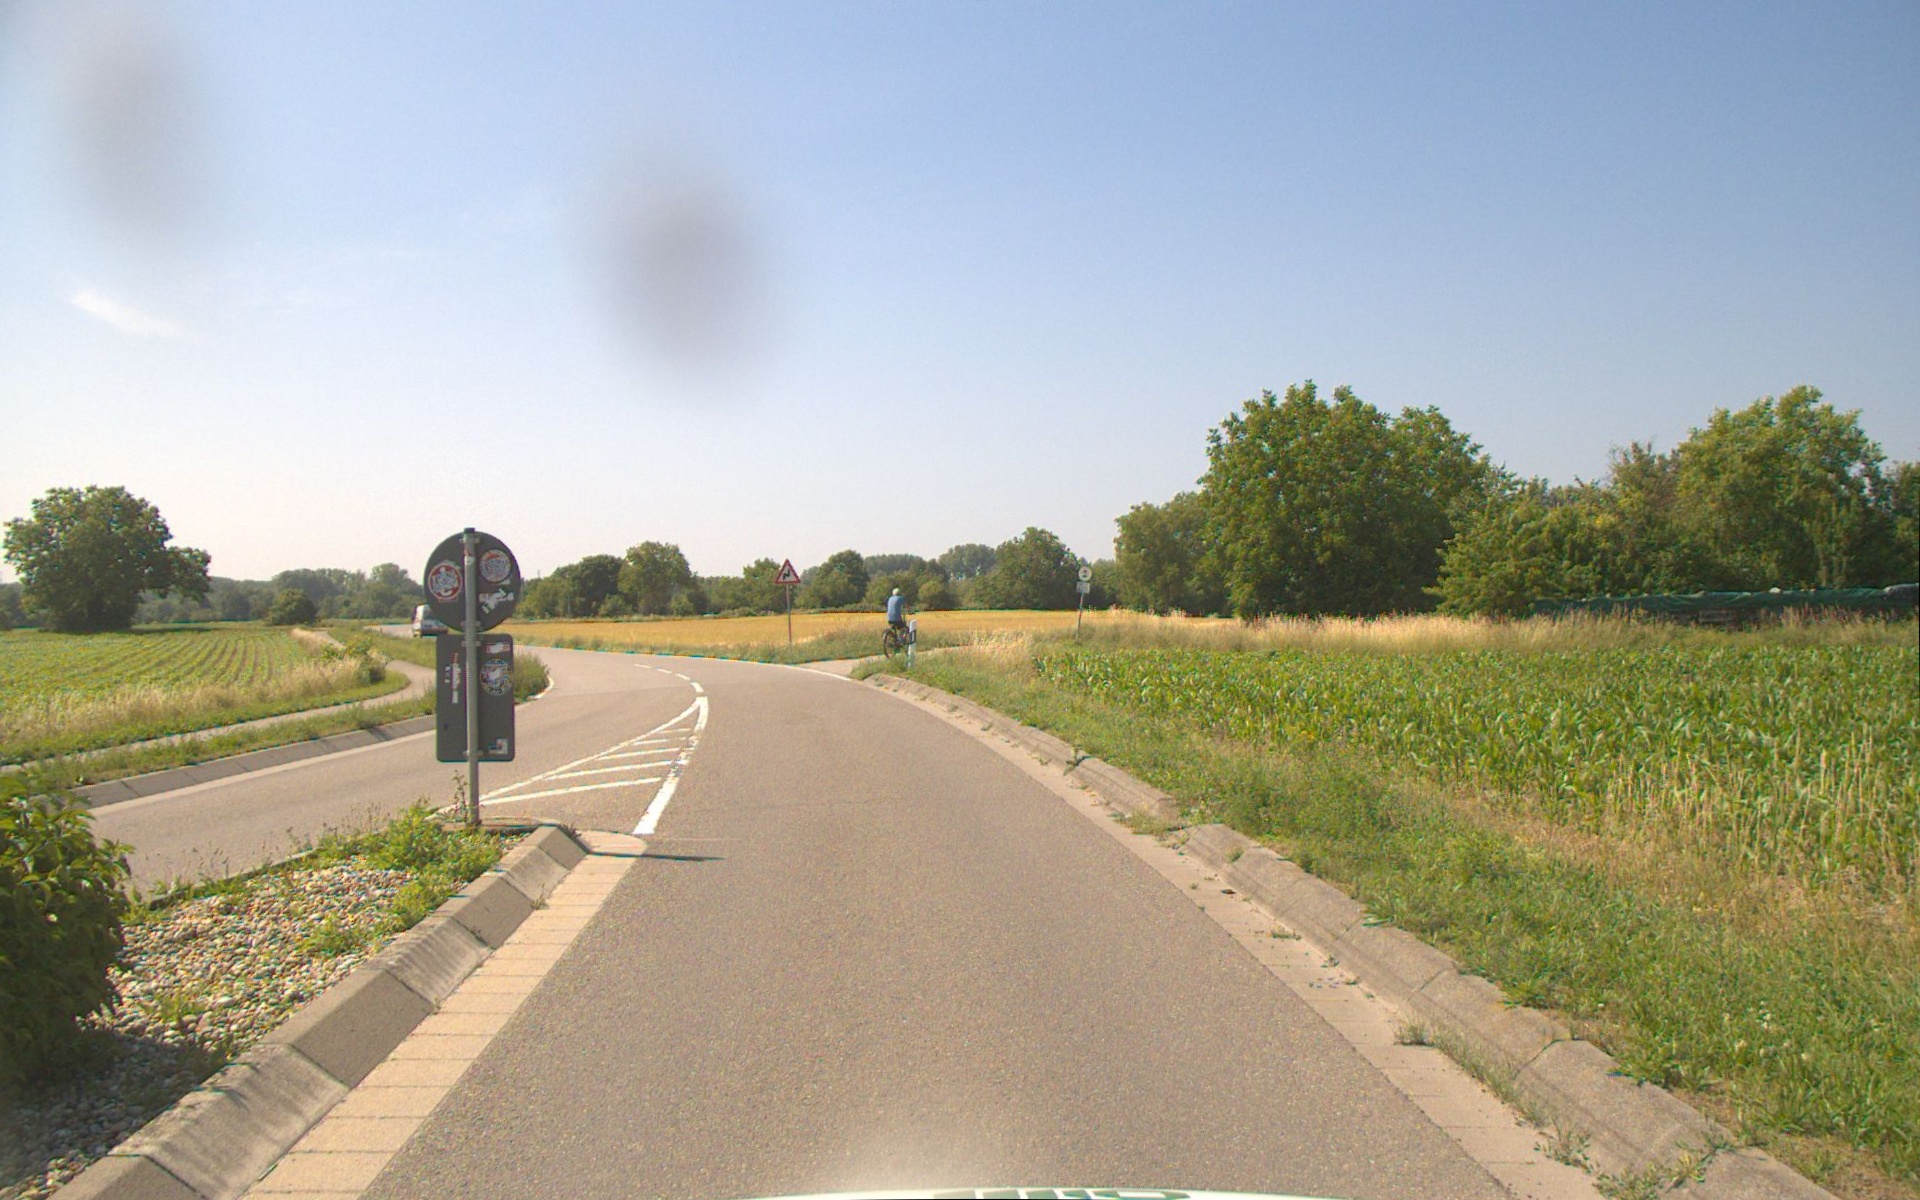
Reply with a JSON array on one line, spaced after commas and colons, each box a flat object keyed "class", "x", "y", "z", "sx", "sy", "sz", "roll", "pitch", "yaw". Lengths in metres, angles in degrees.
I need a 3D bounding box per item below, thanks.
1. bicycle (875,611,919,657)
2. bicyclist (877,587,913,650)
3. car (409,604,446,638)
[{"class": "bicycle", "x": -1.607, "y": 0.870, "z": 42.431, "sx": 0.509, "sy": 1.135, "sz": 1.770, "roll": -2, "pitch": 0, "yaw": 18}, {"class": "bicyclist", "x": -1.657, "y": 0.472, "z": 42.369, "sx": 0.658, "sy": 1.601, "sz": 0.736, "roll": -2, "pitch": -1, "yaw": 18}, {"class": "car", "x": -40.404, "y": 1.574, "z": 125.521, "sx": 2.076, "sy": 2.408, "sz": 5.644, "roll": -2, "pitch": 0, "yaw": -24}]
